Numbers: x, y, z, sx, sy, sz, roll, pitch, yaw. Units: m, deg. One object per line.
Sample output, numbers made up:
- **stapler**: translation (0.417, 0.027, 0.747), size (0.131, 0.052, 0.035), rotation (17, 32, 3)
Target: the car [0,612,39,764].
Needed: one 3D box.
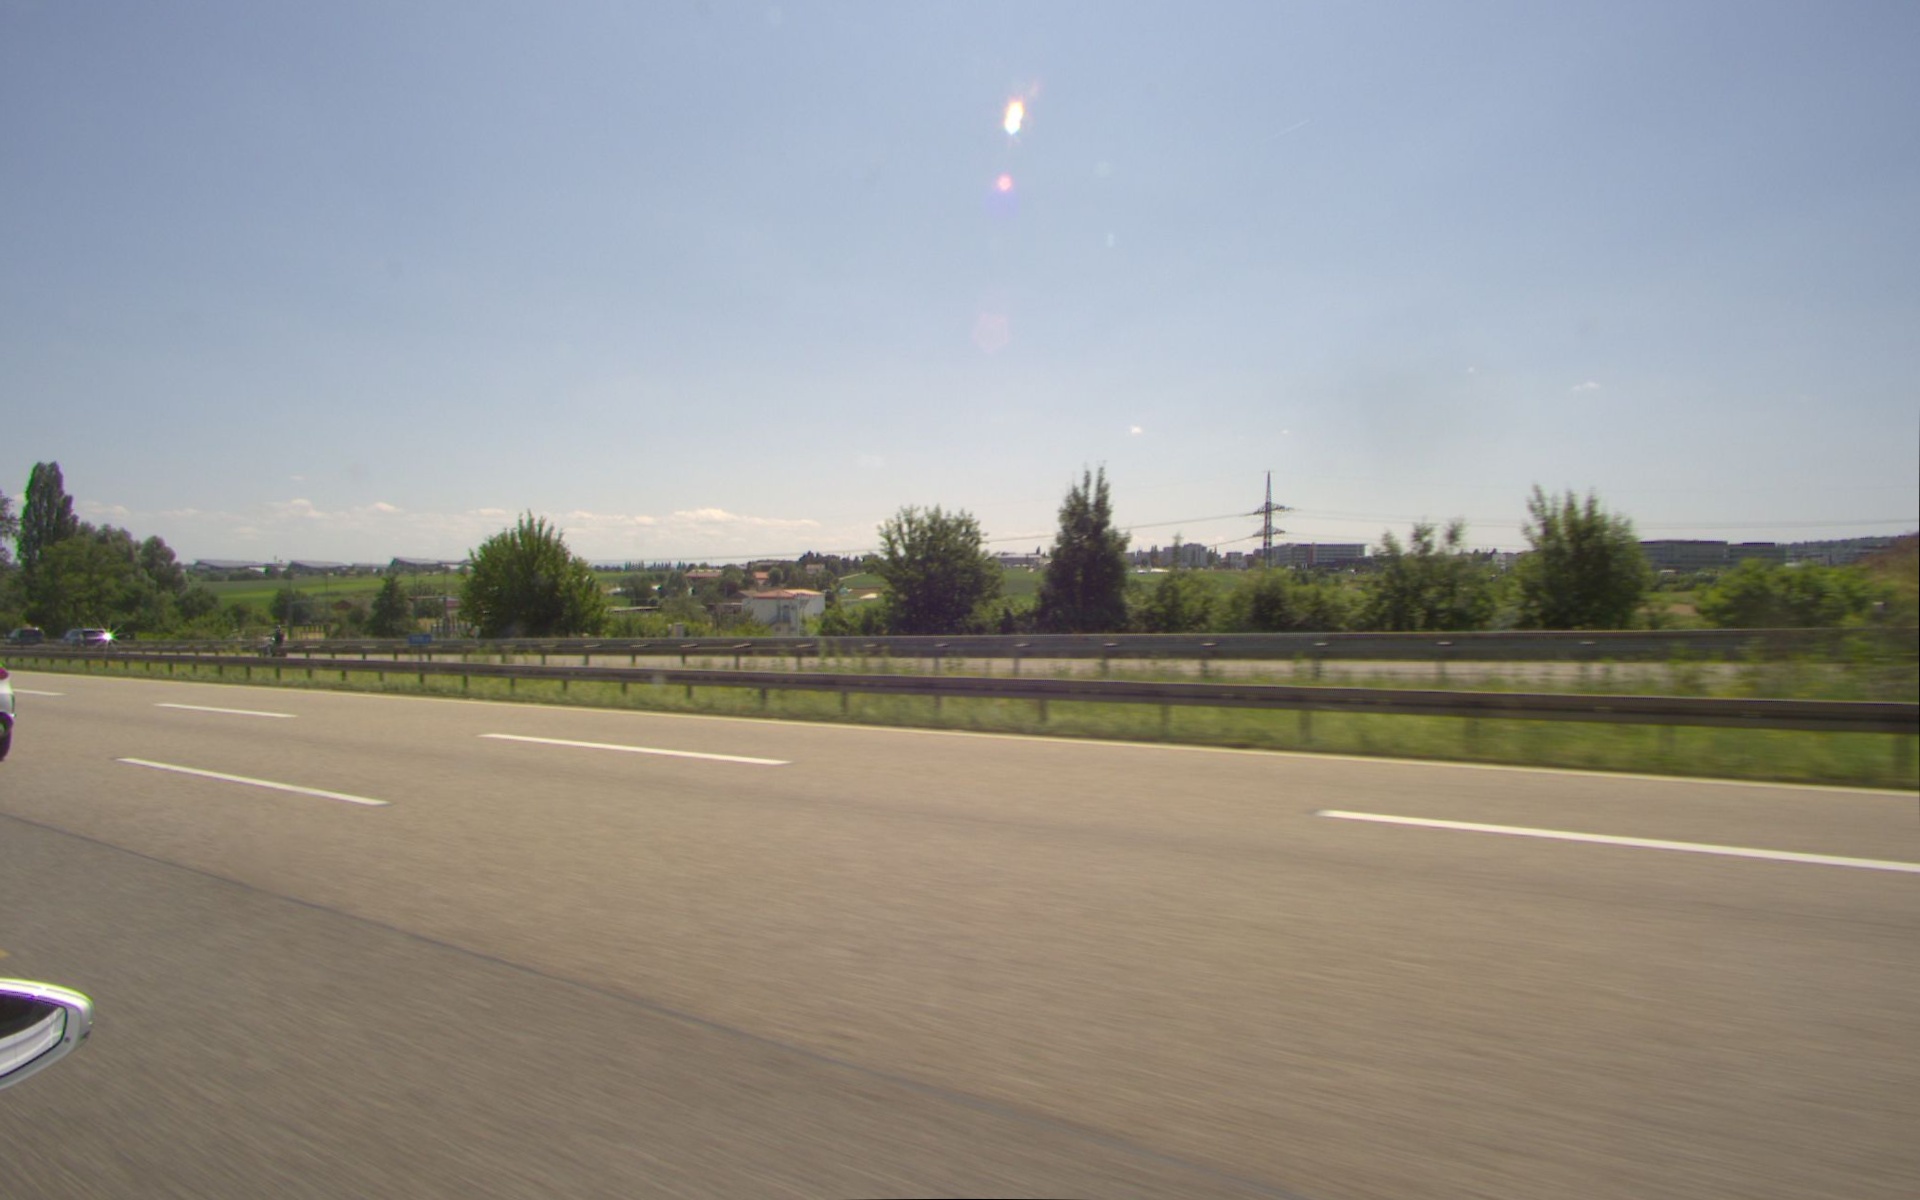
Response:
- **car**: translation (-12.990, 1.002, 11.893), size (4.929, 1.668, 1.894), rotation (-1, -2, 34)

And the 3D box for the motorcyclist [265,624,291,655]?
- **motorcyclist**: translation (-31.037, 1.811, 45.552), size (0.866, 1.384, 0.667), rotation (-1, -1, 31)

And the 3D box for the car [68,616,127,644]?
- **car**: translation (-50.675, 1.765, 58.843), size (4.073, 1.595, 1.695), rotation (-1, -2, 35)

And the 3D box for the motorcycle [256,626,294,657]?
- **motorcycle**: translation (-31.255, 1.870, 45.678), size (1.843, 1.384, 0.759), rotation (-1, -2, 32)

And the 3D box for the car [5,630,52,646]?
- **car**: translation (-74.480, 3.019, 80.026), size (3.941, 1.293, 1.698), rotation (-1, -2, 30)
